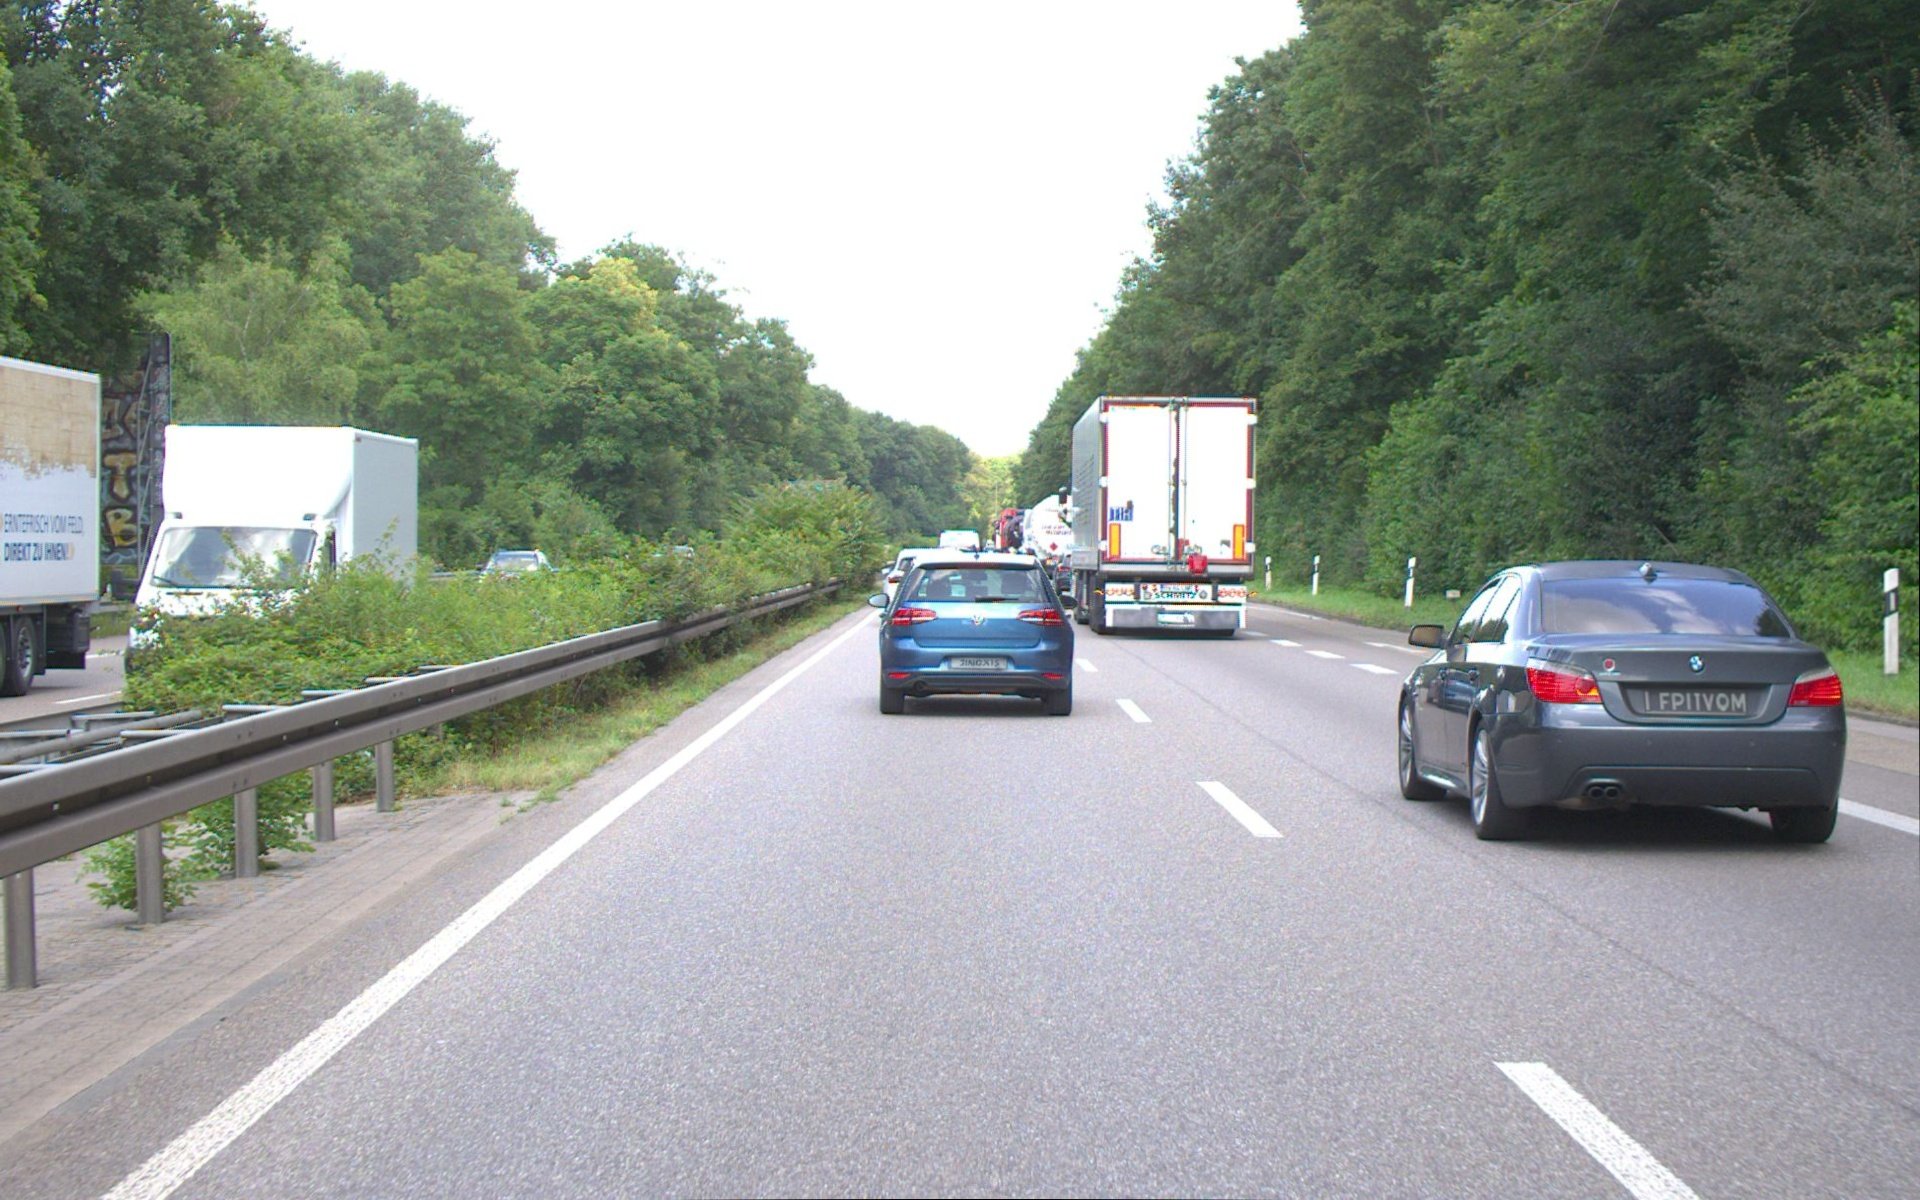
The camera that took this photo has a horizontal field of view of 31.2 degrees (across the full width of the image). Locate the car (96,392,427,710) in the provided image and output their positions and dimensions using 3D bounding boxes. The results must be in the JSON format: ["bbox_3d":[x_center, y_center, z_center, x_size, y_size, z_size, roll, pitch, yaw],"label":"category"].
[{"bbox_3d":[-7.712,-0.569,38.847,2.288,3.221,7.287,-1,1,-1],"label":"car"}]

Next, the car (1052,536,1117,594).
[{"bbox_3d":[3.831,-1.107,106.332,1.888,1.723,4.000,-1,1,0],"label":"car"}]

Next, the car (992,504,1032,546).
[{"bbox_3d":[2.968,-4.257,195.974,1.993,2.319,4.443,-1,1,-2],"label":"car"}]

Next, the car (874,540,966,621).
[{"bbox_3d":[-0.733,-0.397,65.810,1.665,1.495,4.152,0,1,1],"label":"car"}]

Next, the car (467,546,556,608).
[{"bbox_3d":[-12.391,-0.654,95.208,1.828,1.655,4.595,1,1,0],"label":"car"}]

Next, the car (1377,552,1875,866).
[{"bbox_3d":[3.513,0.493,19.040,1.774,1.470,4.880,1,1,0],"label":"car"}]

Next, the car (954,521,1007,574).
[{"bbox_3d":[0.768,-2.040,133.646,1.954,2.007,4.000,-1,1,-1],"label":"car"}]

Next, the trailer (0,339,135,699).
[{"bbox_3d":[-12.258,-0.919,39.313,3.059,4.028,9.974,0,0,1],"label":"trailer"}]

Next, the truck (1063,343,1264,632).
[{"bbox_3d":[3.510,-1.962,61.979,3.242,4.700,11.007,-1,1,2],"label":"truck"}]

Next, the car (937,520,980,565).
[{"bbox_3d":[-0.110,-2.968,176.463,1.993,2.247,4.443,-1,1,-2],"label":"car"}]

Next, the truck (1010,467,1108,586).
[{"bbox_3d":[3.731,-2.746,132.839,3.232,4.371,12.971,0,0,-1],"label":"truck"}]

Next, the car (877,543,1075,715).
[{"bbox_3d":[0.128,0.220,31.927,1.705,1.465,4.000,1,1,0],"label":"car"}]
